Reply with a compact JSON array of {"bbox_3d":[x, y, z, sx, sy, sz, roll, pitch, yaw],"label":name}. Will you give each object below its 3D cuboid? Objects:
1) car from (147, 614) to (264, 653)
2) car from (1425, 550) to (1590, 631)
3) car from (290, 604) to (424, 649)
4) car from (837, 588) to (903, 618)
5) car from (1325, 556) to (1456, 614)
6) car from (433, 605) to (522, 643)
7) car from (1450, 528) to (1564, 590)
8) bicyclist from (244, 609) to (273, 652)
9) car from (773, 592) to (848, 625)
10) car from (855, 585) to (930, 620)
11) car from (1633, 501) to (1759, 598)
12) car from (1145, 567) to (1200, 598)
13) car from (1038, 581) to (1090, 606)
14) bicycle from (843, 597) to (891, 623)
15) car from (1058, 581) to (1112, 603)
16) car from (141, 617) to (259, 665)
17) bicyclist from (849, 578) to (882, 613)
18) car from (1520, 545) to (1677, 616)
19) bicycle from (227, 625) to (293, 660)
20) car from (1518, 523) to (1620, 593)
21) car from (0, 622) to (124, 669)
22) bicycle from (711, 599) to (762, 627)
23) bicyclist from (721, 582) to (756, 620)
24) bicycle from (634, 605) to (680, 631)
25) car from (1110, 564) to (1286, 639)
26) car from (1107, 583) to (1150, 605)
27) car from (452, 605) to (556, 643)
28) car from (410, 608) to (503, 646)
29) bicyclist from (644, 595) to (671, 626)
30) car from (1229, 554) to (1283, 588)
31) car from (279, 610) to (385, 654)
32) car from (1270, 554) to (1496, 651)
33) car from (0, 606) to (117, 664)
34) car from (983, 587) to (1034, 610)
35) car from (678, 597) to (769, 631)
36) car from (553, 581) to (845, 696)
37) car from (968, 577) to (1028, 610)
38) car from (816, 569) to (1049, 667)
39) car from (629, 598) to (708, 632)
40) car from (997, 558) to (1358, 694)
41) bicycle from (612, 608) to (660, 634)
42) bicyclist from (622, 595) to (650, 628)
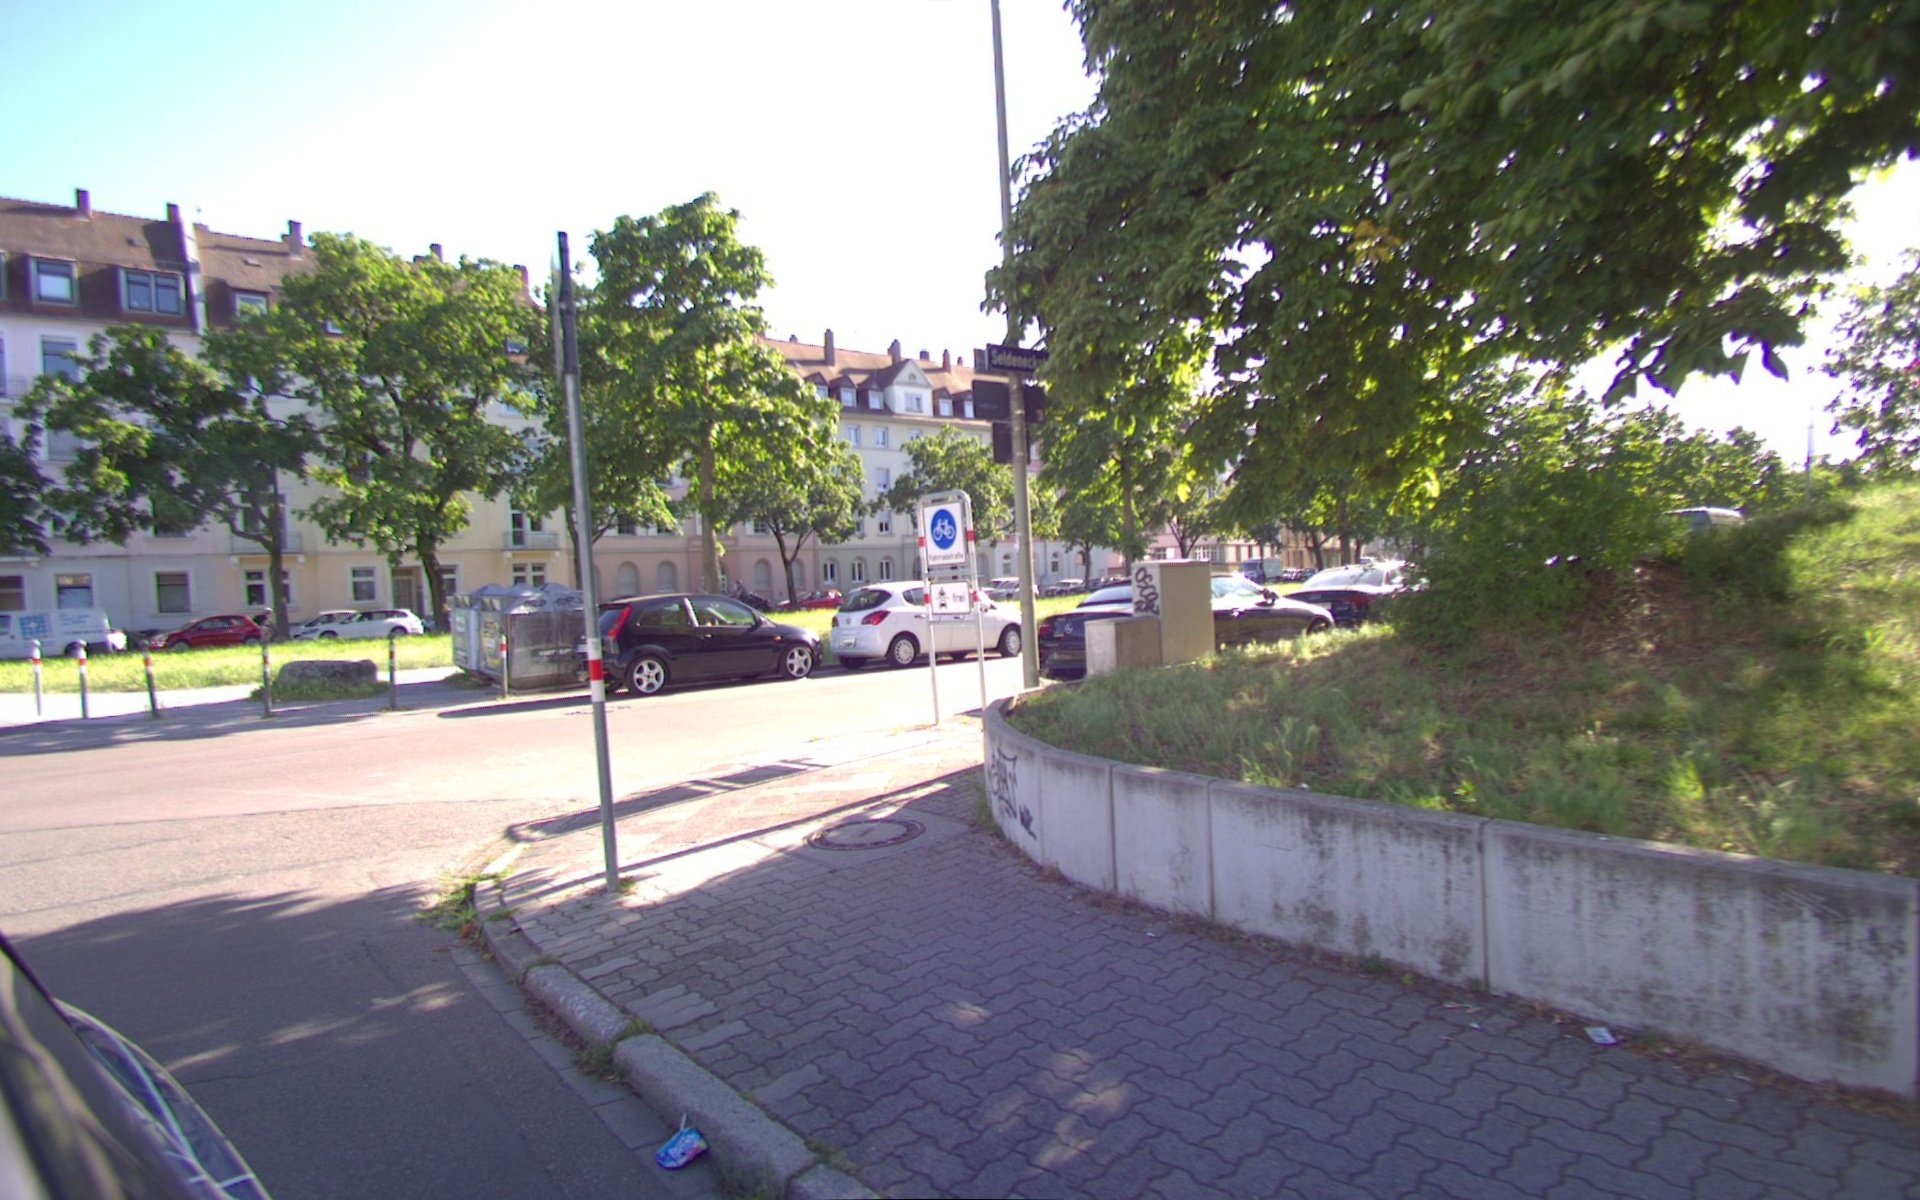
[{"bbox_3d":[-29.658,1.283,39.827,3.473,1.289,1.701,-4,1,-43],"label":"car"},{"bbox_3d":[11.615,-0.223,21.369,3.970,1.498,1.787,-4,1,-42],"label":"car"},{"bbox_3d":[-25.732,1.100,43.271,4.627,1.573,1.701,-4,1,-43],"label":"car"},{"bbox_3d":[-6.037,0.179,68.173,3.964,1.764,1.950,-4,1,-41],"label":"car"},{"bbox_3d":[12.656,-0.457,29.662,4.061,1.511,1.842,-3,1,-39],"label":"car"},{"bbox_3d":[-23.539,1.137,49.411,3.537,1.614,1.784,-3,1,-41],"label":"car"},{"bbox_3d":[18.977,-1.449,35.041,4.062,1.957,2.109,-3,1,-40],"label":"car"},{"bbox_3d":[-29.176,1.274,42.078,0.865,1.703,0.633,-3,1,-41],"label":"bicyclist"},{"bbox_3d":[-8.574,0.470,58.257,4.020,1.699,1.638,-4,1,-43],"label":"car"},{"bbox_3d":[-4.110,0.128,62.184,4.394,1.922,1.744,-4,1,-43],"label":"car"},{"bbox_3d":[22.781,-1.553,31.232,5.336,2.709,2.172,-4,1,-44],"label":"car"},{"bbox_3d":[16.911,-1.401,80.425,4.933,2.230,1.701,-3,1,-43],"label":"car"},{"bbox_3d":[8.318,-0.544,80.524,3.939,1.762,1.868,-4,1,-41],"label":"car"},{"bbox_3d":[-5.098,0.543,55.393,2.594,1.261,0.814,-4,1,-42],"label":"bicycle"},{"bbox_3d":[9.173,-0.581,73.942,3.715,1.451,1.855,-3,1,-40],"label":"car"},{"bbox_3d":[-33.353,1.766,44.428,3.991,1.764,2.003,-3,1,-40],"label":"car"},{"bbox_3d":[-5.162,-0.254,55.428,1.427,1.851,0.946,-2,0,-42],"label":"bicyclist"},{"bbox_3d":[15.494,-0.486,24.483,4.061,1.498,1.998,-3,1,-39],"label":"car"},{"bbox_3d":[-29.154,1.759,42.171,2.121,1.268,0.715,-3,1,-42],"label":"bicycle"},{"bbox_3d":[23.659,-1.644,39.277,4.061,2.515,2.109,-3,1,-39],"label":"car"},{"bbox_3d":[-36.899,1.818,41.057,4.387,1.598,2.001,-4,1,-44],"label":"car"},{"bbox_3d":[-11.262,0.654,51.162,0.811,1.261,2.603,-2,1,35],"label":"bicycle"},{"bbox_3d":[-11.217,0.027,51.282,0.942,1.851,1.433,-3,0,33],"label":"bicyclist"},{"bbox_3d":[-14.397,0.843,48.187,1.926,1.087,0.735,-4,1,-42],"label":"bicycle"},{"bbox_3d":[5.508,-0.007,23.188,4.061,1.472,1.788,-3,1,-39],"label":"car"},{"bbox_3d":[12.768,-0.460,76.585,3.183,1.451,1.523,-4,1,-43],"label":"car"},{"bbox_3d":[-21.247,1.097,47.224,4.020,1.538,1.701,-4,1,-43],"label":"car"},{"bbox_3d":[-25.440,1.329,51.149,3.802,1.627,1.893,-4,1,-41],"label":"car"},{"bbox_3d":[-14.407,0.498,48.182,0.928,1.448,0.741,-2,0,-41],"label":"bicyclist"},{"bbox_3d":[25.973,-2.528,88.643,5.540,2.764,1.924,-4,1,-43],"label":"car"},{"bbox_3d":[-29.555,1.483,47.664,3.939,1.770,1.872,-4,1,-41],"label":"car"},{"bbox_3d":[7.198,-0.008,17.049,4.061,1.381,1.788,-3,1,-39],"label":"car"},{"bbox_3d":[-33.894,1.291,36.635,5.022,1.886,2.090,-4,1,-43],"label":"car"},{"bbox_3d":[3.305,-0.108,68.620,3.289,1.451,1.387,-3,1,-39],"label":"car"},{"bbox_3d":[-12.721,0.719,54.704,4.460,1.560,1.764,-4,1,-43],"label":"car"},{"bbox_3d":[-3.878,0.535,15.326,3.854,1.435,1.757,-3,-2,-39],"label":"car"},{"bbox_3d":[2.879,-0.494,75.788,4.396,2.275,1.784,-4,1,-42],"label":"car"},{"bbox_3d":[-0.433,0.299,18.135,3.813,1.506,1.786,-3,-1,-39],"label":"car"},{"bbox_3d":[-16.813,0.855,58.500,3.936,1.714,1.856,-3,1,-38],"label":"car"},{"bbox_3d":[2.879,0.276,12.905,4.435,1.347,2.136,-3,-1,-39],"label":"car"},{"bbox_3d":[-14.820,0.949,46.288,1.926,1.087,0.735,-4,1,-42],"label":"bicycle"},{"bbox_3d":[-14.821,0.511,46.288,0.928,1.448,0.741,-2,0,-41],"label":"bicyclist"}]
